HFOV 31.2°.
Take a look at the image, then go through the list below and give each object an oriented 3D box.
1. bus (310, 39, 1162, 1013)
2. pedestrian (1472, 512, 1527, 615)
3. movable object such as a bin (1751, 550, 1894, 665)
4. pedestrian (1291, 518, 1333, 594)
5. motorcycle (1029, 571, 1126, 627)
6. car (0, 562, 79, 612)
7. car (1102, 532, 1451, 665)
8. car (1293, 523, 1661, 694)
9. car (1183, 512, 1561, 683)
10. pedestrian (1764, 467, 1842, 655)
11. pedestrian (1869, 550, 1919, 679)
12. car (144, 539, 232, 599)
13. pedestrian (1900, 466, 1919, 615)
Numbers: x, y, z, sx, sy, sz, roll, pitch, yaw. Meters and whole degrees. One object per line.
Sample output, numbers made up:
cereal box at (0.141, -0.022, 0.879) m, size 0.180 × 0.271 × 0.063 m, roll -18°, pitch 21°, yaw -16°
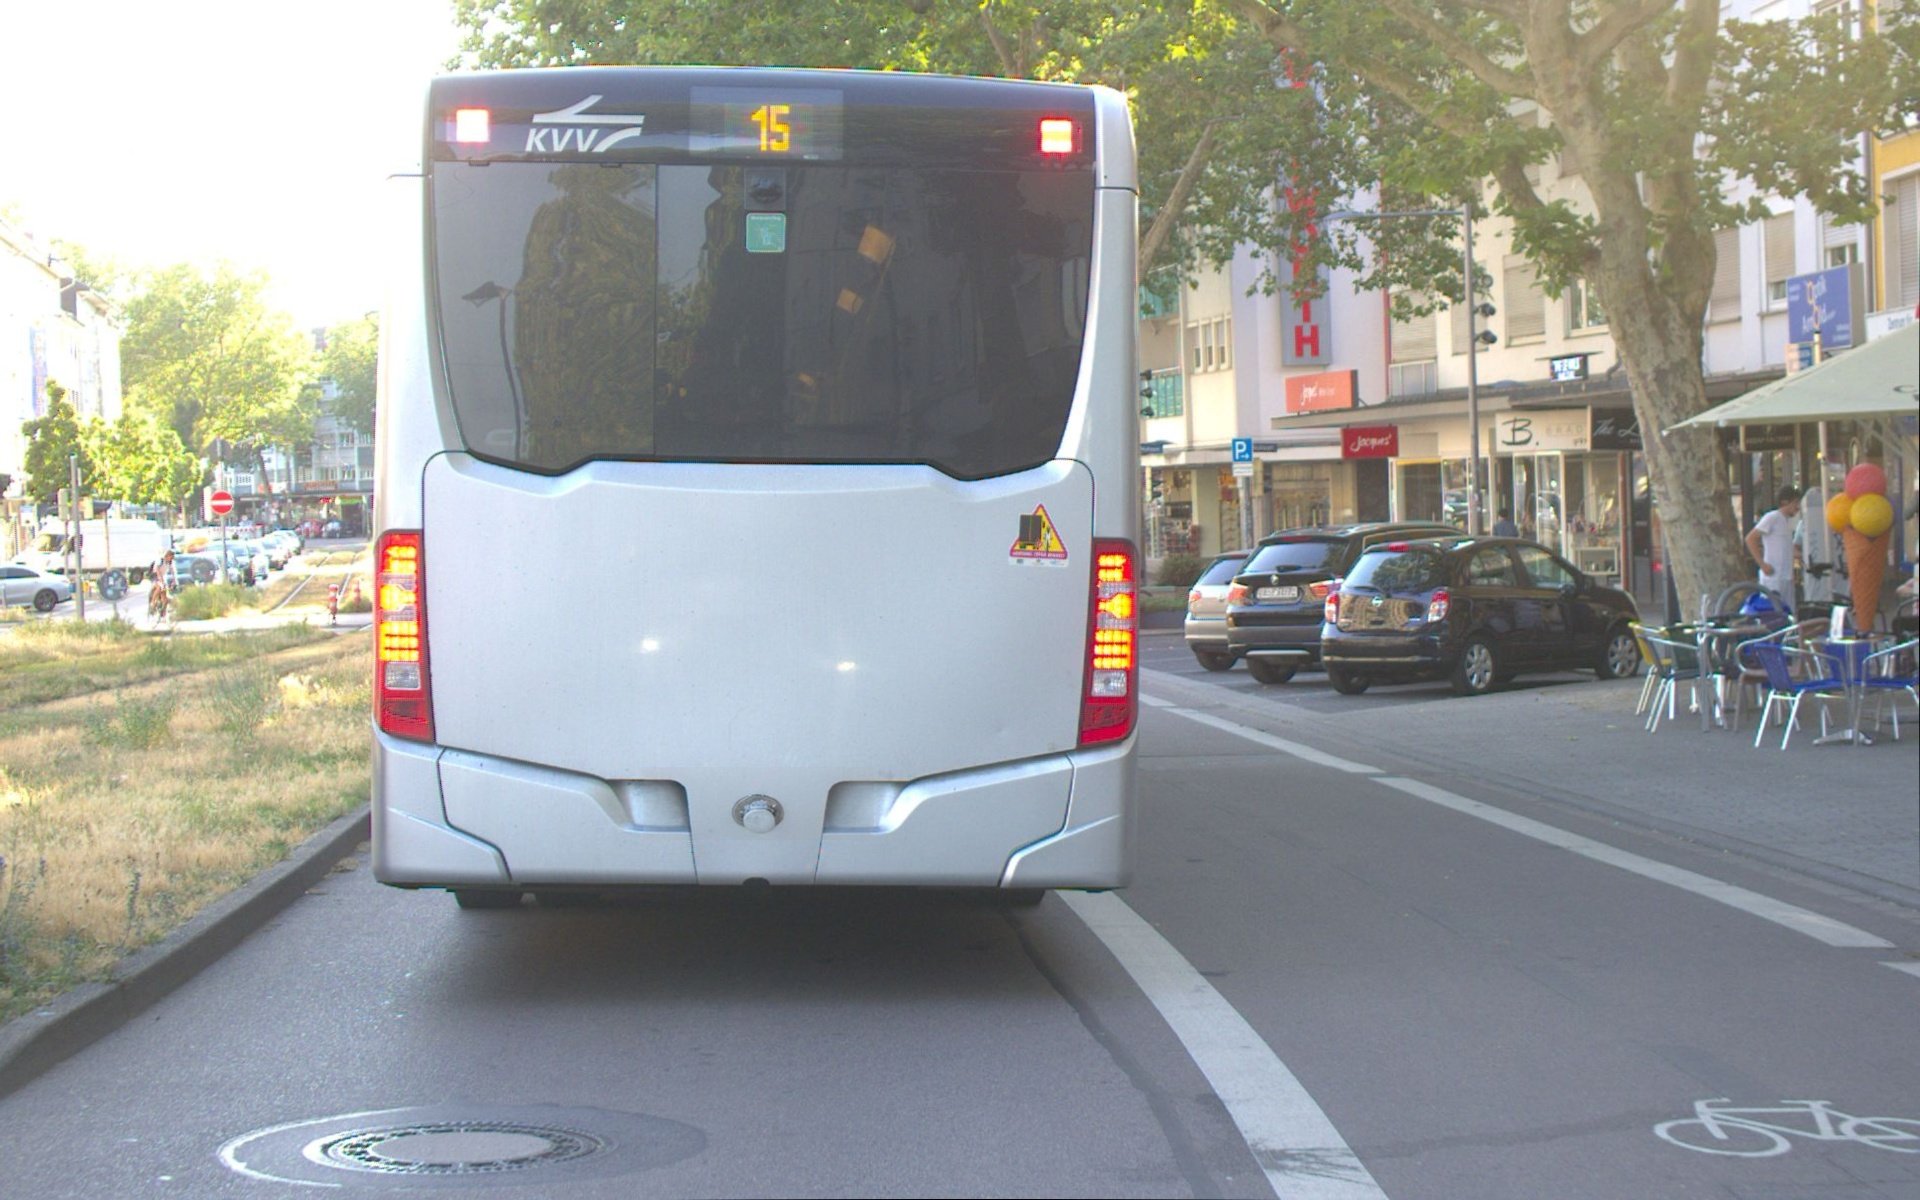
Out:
bus at (-0.803, -0.318, 14.439) m, size 2.678 × 3.073 × 7.115 m, roll 0°, pitch 1°, yaw -2°
pedestrian at (9.527, -0.651, 60.743) m, size 0.780 × 1.787 × 0.764 m, roll -1°, pitch 1°, yaw -4°
movable object such as a bin at (7.824, 0.065, 31.198) m, size 0.926 × 1.020 × 0.840 m, roll 0°, pitch 1°, yaw -26°
pedestrian at (8.033, -1.013, 78.483) m, size 0.747 × 1.673 × 0.835 m, roll -2°, pitch 3°, yaw -10°
motorcycle at (1.999, -0.023, 58.735) m, size 1.570 × 0.889 × 0.545 m, roll -2°, pitch 1°, yaw -7°
car at (-28.493, -0.363, 101.085) m, size 4.539 × 1.407 × 1.999 m, roll -2°, pitch 1°, yaw -40°
car at (3.859, -0.037, 41.539) m, size 4.166 × 1.446 × 1.809 m, roll -2°, pitch 1°, yaw -42°
car at (5.128, 0.054, 33.853) m, size 3.599 × 1.535 × 1.741 m, roll -2°, pitch 1°, yaw -44°
car at (4.483, -0.056, 37.035) m, size 4.140 × 1.675 × 1.808 m, roll -2°, pitch 1°, yaw -44°
pedestrian at (8.299, -0.388, 33.856) m, size 0.515 × 1.826 × 0.475 m, roll -2°, pitch 1°, yaw -26°
pedestrian at (8.373, 0.120, 30.101) m, size 0.583 × 1.111 × 0.751 m, roll 0°, pitch 1°, yaw -4°
car at (-21.223, -0.865, 94.585) m, size 1.722 × 1.504 × 3.476 m, roll -4°, pitch 1°, yaw -3°
pedestrian at (11.825, -0.742, 41.355) m, size 0.707 × 1.785 × 0.788 m, roll -5°, pitch 1°, yaw 2°
